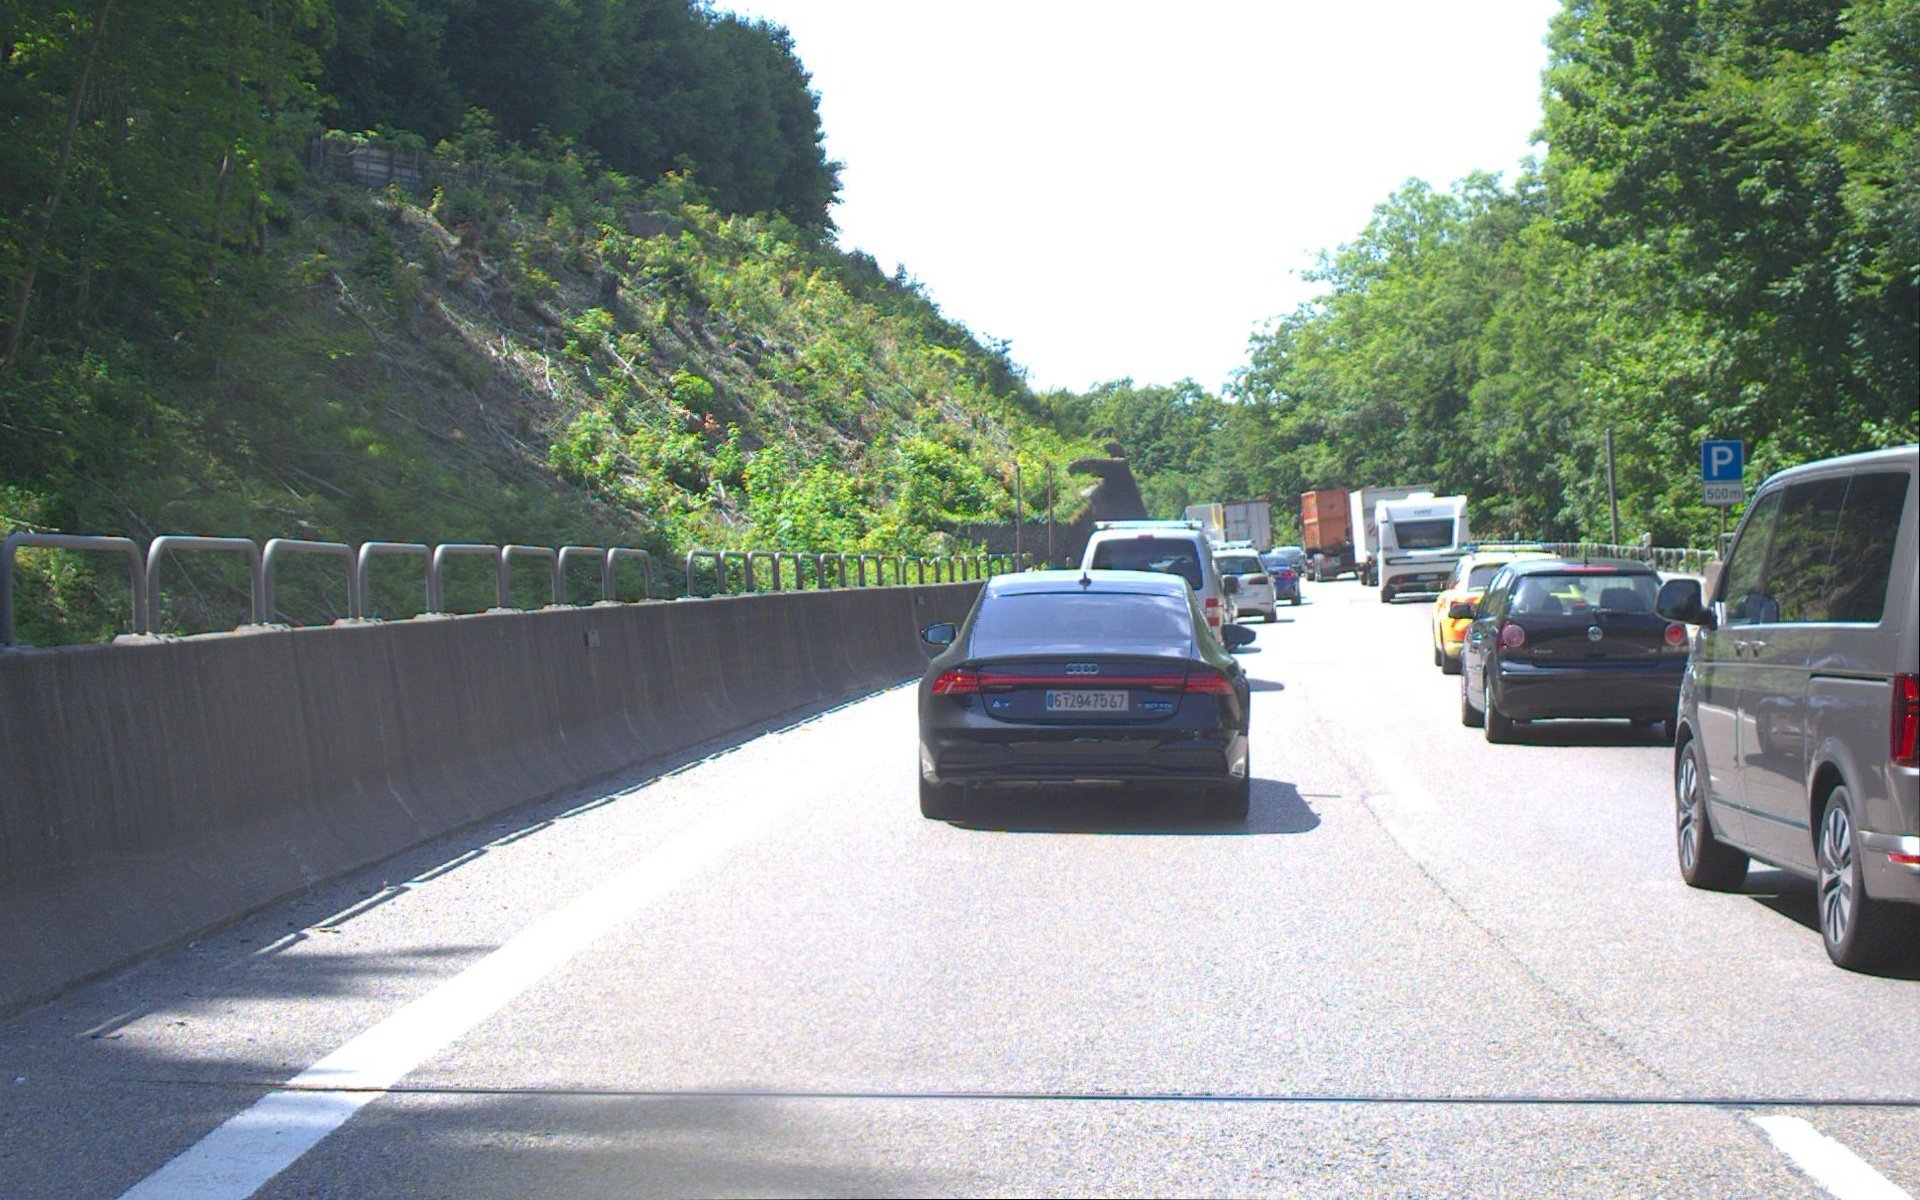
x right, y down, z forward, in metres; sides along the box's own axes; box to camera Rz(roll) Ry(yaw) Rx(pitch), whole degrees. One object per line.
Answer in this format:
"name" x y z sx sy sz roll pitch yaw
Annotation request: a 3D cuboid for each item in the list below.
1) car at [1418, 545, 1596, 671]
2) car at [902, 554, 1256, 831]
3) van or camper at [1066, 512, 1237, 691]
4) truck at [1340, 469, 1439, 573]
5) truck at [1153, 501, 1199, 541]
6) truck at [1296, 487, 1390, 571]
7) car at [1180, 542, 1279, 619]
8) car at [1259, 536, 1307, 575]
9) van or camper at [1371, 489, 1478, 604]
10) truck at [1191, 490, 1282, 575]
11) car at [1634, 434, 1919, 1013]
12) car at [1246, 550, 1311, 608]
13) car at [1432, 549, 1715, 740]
"car" 6.667 0.065 42.245 1.808 1.473 4.081 0 1 4
"car" 0.650 0.469 20.707 1.905 1.484 4.379 0 1 0
"van or camper" 2.235 -0.012 39.491 1.854 1.935 4.164 0 1 4
"truck" 15.540 -2.842 124.945 2.925 3.674 7.724 0 1 2
"truck" 11.090 -4.039 176.630 1.993 2.007 4.000 0 1 -1
"truck" 16.257 -2.990 146.412 3.163 3.456 8.222 0 1 1
"car" 5.645 -0.434 72.413 1.895 1.579 3.771 0 1 2
"car" 15.636 -2.154 166.595 1.993 1.853 4.000 0 1 0
"van or camper" 11.957 -1.385 88.857 2.604 2.845 6.334 0 1 7
"truck" 14.910 -3.647 185.784 3.709 4.488 7.725 0 1 -4
"car" 4.095 0.372 13.749 1.940 1.924 4.694 0 1 1
"car" 8.819 -0.590 95.174 1.751 1.565 3.770 0 1 5
"car" 4.961 0.310 28.267 1.685 1.453 4.000 0 1 1
